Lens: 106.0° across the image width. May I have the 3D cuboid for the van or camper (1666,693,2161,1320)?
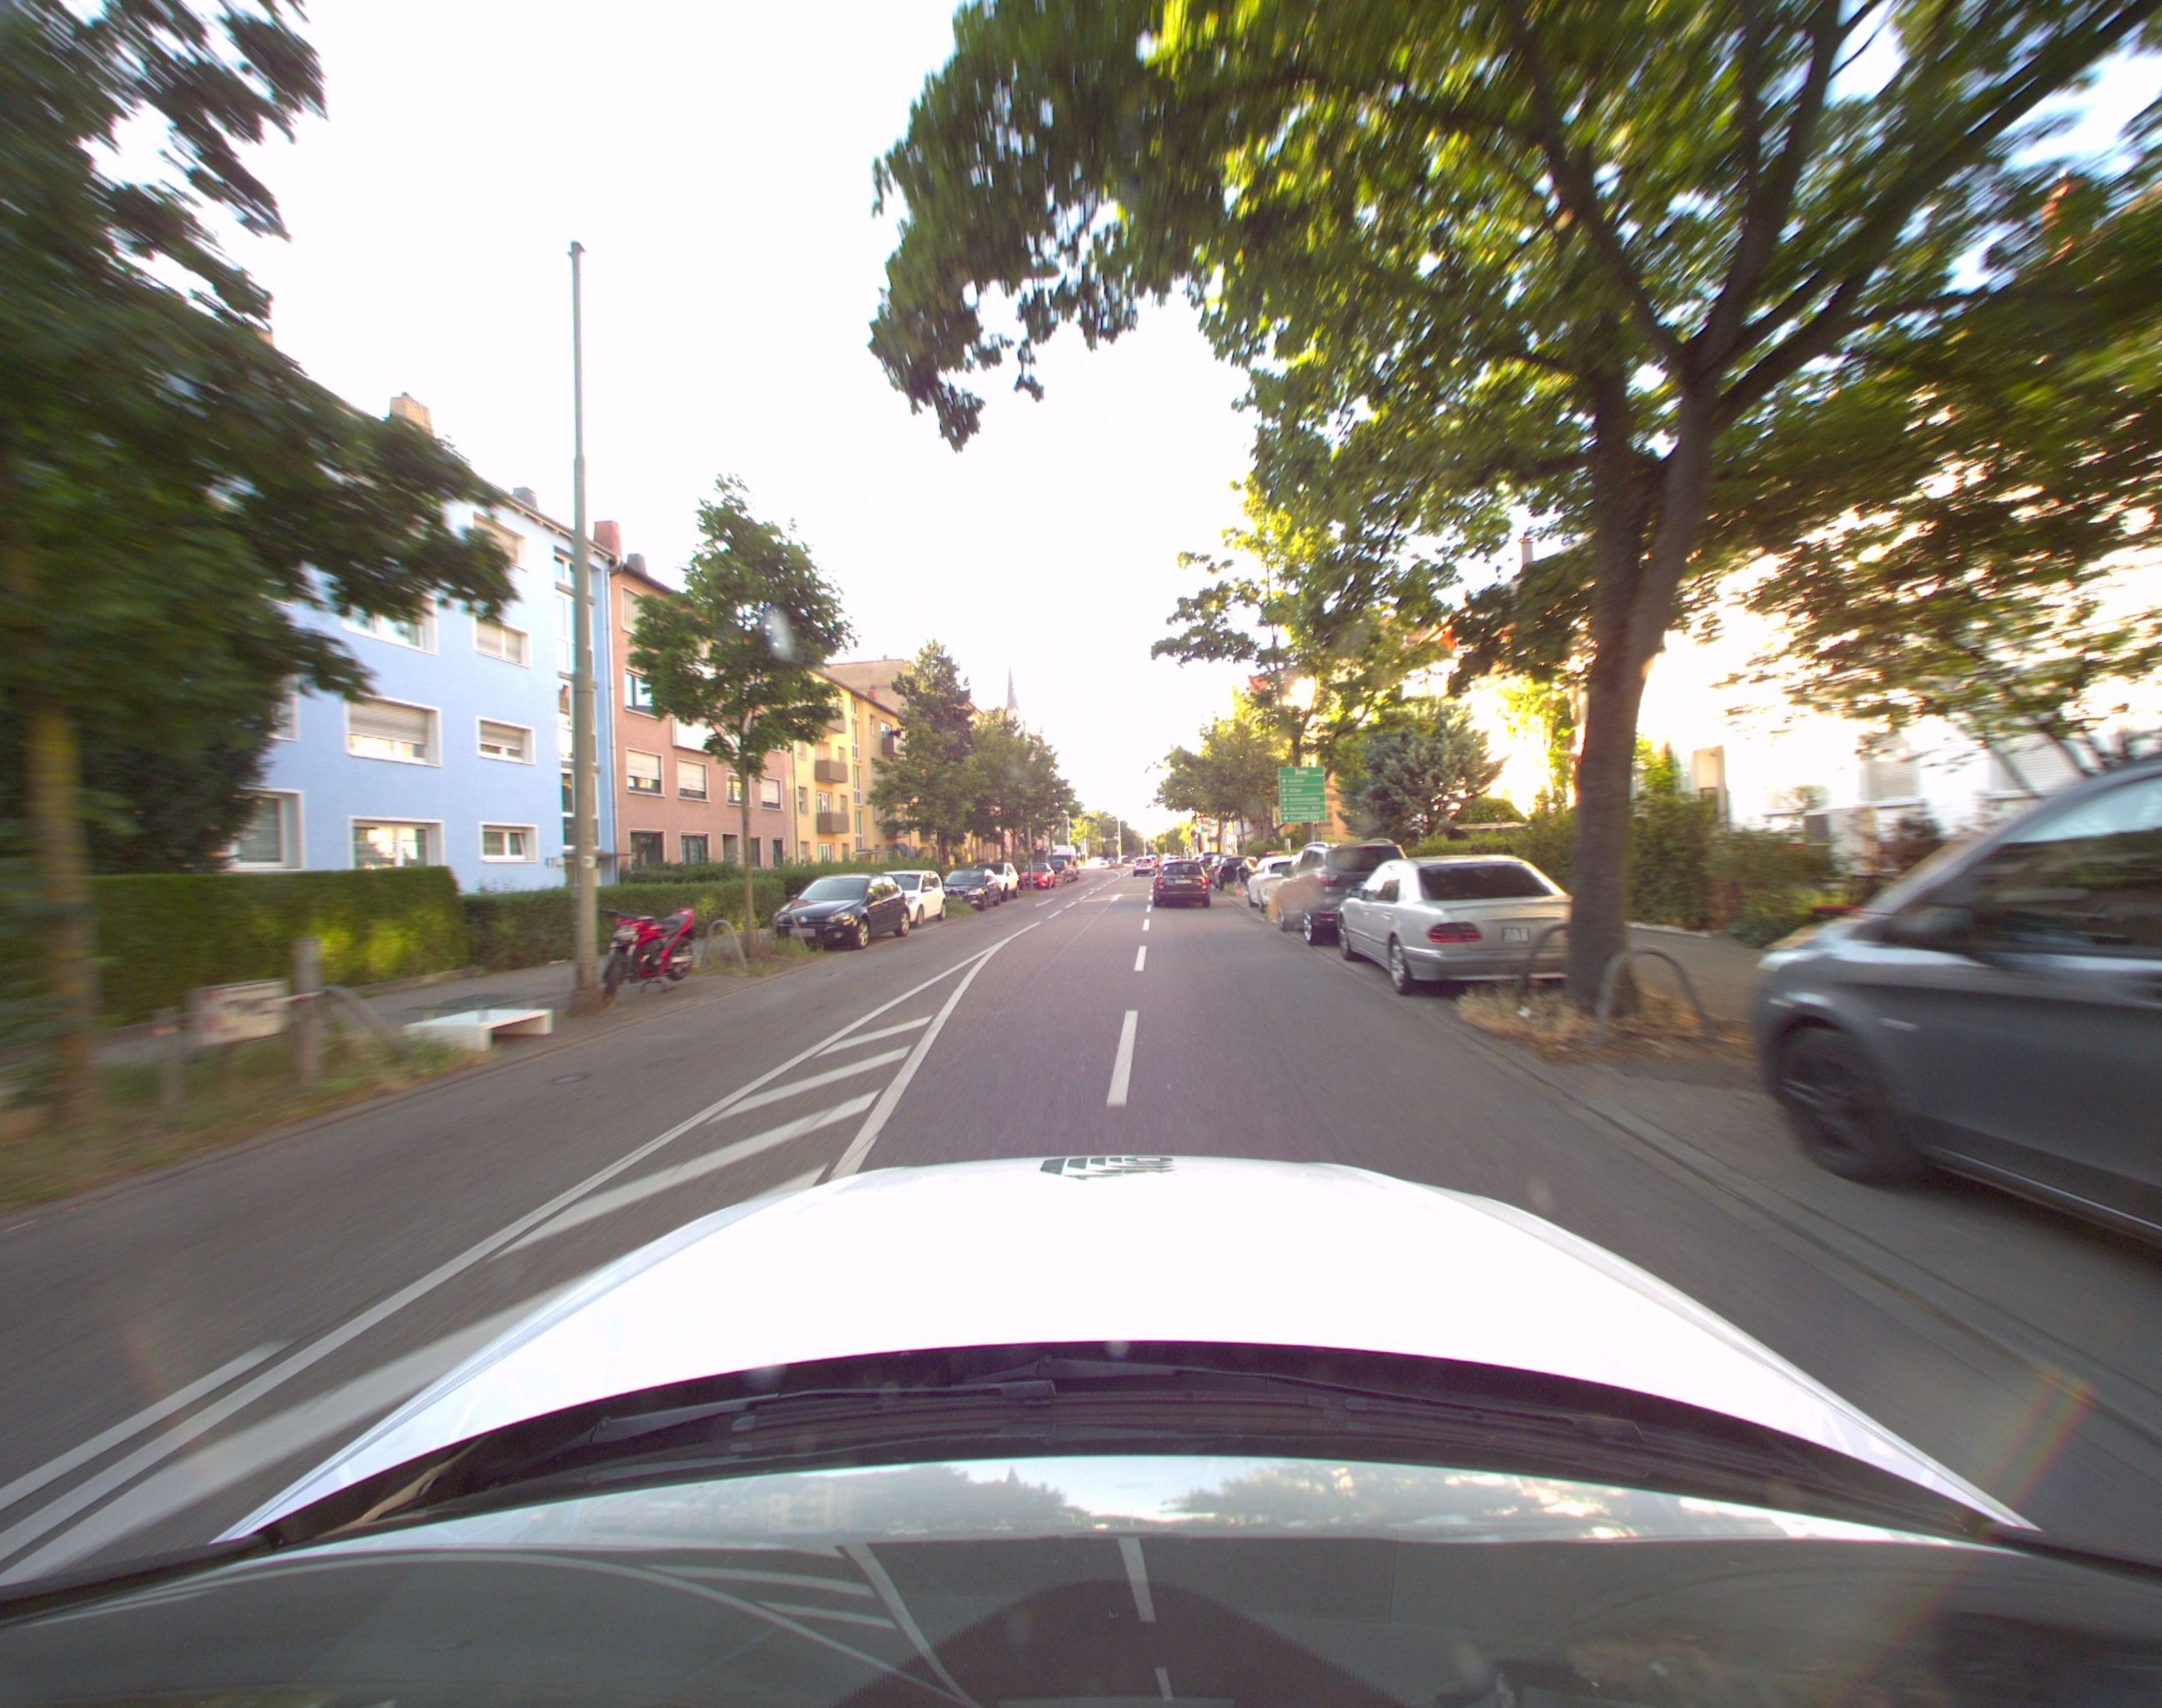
[{"bbox_3d":[4.105,0.420,1.952,1.984,1.842,5.268,-3,1,6],"label":"van or camper"}]

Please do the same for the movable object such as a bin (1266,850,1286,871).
[{"bbox_3d":[13.906,0.465,58.111,1.242,1.441,0.999,-3,-1,19],"label":"movable object such as a bin"}]

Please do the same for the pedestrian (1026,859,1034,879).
[{"bbox_3d":[-4.278,1.285,68.343,0.478,1.652,0.725,-3,-1,-1],"label":"pedestrian"}]

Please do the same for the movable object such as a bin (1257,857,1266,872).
[{"bbox_3d":[12.888,0.743,58.098,0.490,1.059,0.550,-3,-1,17],"label":"movable object such as a bin"}]

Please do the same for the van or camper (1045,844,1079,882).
[{"bbox_3d":[-1.327,0.657,60.026,2.027,2.664,6.020,-1,0,3],"label":"van or camper"}]

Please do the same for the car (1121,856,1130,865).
[{"bbox_3d":[8.407,1.252,154.720,1.614,1.494,3.348,-2,0,1],"label":"car"}]

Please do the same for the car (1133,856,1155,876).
[{"bbox_3d":[5.175,0.970,66.391,1.699,1.510,4.315,-2,0,5],"label":"car"}]

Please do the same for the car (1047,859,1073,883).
[{"bbox_3d":[-1.397,1.149,55.058,1.396,1.548,2.767,-1,0,7],"label":"car"}]

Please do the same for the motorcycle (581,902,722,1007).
[{"bbox_3d":[-5.608,1.260,10.801,0.636,1.136,2.174,0,0,2],"label":"motorcycle"}]

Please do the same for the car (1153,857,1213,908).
[{"bbox_3d":[3.176,0.847,25.794,1.699,1.457,4.165,-1,0,6],"label":"car"}]

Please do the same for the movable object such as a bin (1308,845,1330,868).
[{"bbox_3d":[16.838,0.191,57.680,1.153,1.555,0.993,-3,-1,-5],"label":"movable object such as a bin"}]

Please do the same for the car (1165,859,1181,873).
[{"bbox_3d":[10.081,1.271,89.231,1.642,1.484,4.246,-2,0,5],"label":"car"}]

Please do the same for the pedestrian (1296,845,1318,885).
[{"bbox_3d":[9.537,0.455,34.353,0.743,1.616,0.580,-3,-1,3],"label":"pedestrian"}]

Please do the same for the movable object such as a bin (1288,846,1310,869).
[{"bbox_3d":[15.524,0.273,57.962,1.153,1.555,0.993,-3,-1,-5],"label":"movable object such as a bin"}]

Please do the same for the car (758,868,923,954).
[{"bbox_3d":[-4.931,1.115,17.394,1.828,1.517,4.323,-1,0,6],"label":"car"}]

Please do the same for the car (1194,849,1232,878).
[{"bbox_3d":[8.255,0.584,51.319,1.939,1.655,4.802,-3,0,4],"label":"car"}]

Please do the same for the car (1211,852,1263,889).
[{"bbox_3d":[6.832,0.696,36.014,1.762,1.448,4.490,-4,0,5],"label":"car"}]

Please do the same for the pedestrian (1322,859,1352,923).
[{"bbox_3d":[7.311,1.055,23.298,0.665,1.783,0.765,0,-2,5],"label":"pedestrian"}]

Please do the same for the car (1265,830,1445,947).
[{"bbox_3d":[4.748,0.543,14.907,1.908,1.681,4.712,-4,0,4],"label":"car"}]

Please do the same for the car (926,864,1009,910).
[{"bbox_3d":[-4.053,1.135,29.784,1.984,1.448,4.464,-3,-1,5],"label":"car"}]

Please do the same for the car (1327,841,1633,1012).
[{"bbox_3d":[4.347,0.669,9.827,1.775,1.504,4.840,-2,0,7],"label":"car"}]

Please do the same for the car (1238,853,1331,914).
[{"bbox_3d":[5.459,0.742,22.357,1.753,1.402,4.340,-4,-1,5],"label":"car"}]

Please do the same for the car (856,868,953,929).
[{"bbox_3d":[-4.785,1.154,22.540,1.584,1.492,3.646,-2,-1,4],"label":"car"}]

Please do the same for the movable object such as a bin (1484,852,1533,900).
[{"bbox_3d":[10.182,0.510,19.426,0.722,1.058,0.685,-6,-1,4],"label":"movable object such as a bin"}]

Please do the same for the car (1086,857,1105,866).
[{"bbox_3d":[2.820,1.480,163.328,2.006,1.670,3.961,-2,0,-30],"label":"car"}]

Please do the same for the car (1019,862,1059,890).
[{"bbox_3d":[-2.320,1.207,45.905,1.709,1.452,3.929,-2,0,5],"label":"car"}]

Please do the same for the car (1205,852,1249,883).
[{"bbox_3d":[7.622,0.683,42.787,1.709,1.472,4.435,-3,0,3],"label":"car"}]

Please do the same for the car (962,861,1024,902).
[{"bbox_3d":[-3.671,1.127,34.771,1.768,1.588,4.192,-2,0,5],"label":"car"}]

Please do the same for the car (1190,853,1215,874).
[{"bbox_3d":[10.036,0.777,67.557,1.846,1.512,4.844,-4,-1,7],"label":"car"}]
